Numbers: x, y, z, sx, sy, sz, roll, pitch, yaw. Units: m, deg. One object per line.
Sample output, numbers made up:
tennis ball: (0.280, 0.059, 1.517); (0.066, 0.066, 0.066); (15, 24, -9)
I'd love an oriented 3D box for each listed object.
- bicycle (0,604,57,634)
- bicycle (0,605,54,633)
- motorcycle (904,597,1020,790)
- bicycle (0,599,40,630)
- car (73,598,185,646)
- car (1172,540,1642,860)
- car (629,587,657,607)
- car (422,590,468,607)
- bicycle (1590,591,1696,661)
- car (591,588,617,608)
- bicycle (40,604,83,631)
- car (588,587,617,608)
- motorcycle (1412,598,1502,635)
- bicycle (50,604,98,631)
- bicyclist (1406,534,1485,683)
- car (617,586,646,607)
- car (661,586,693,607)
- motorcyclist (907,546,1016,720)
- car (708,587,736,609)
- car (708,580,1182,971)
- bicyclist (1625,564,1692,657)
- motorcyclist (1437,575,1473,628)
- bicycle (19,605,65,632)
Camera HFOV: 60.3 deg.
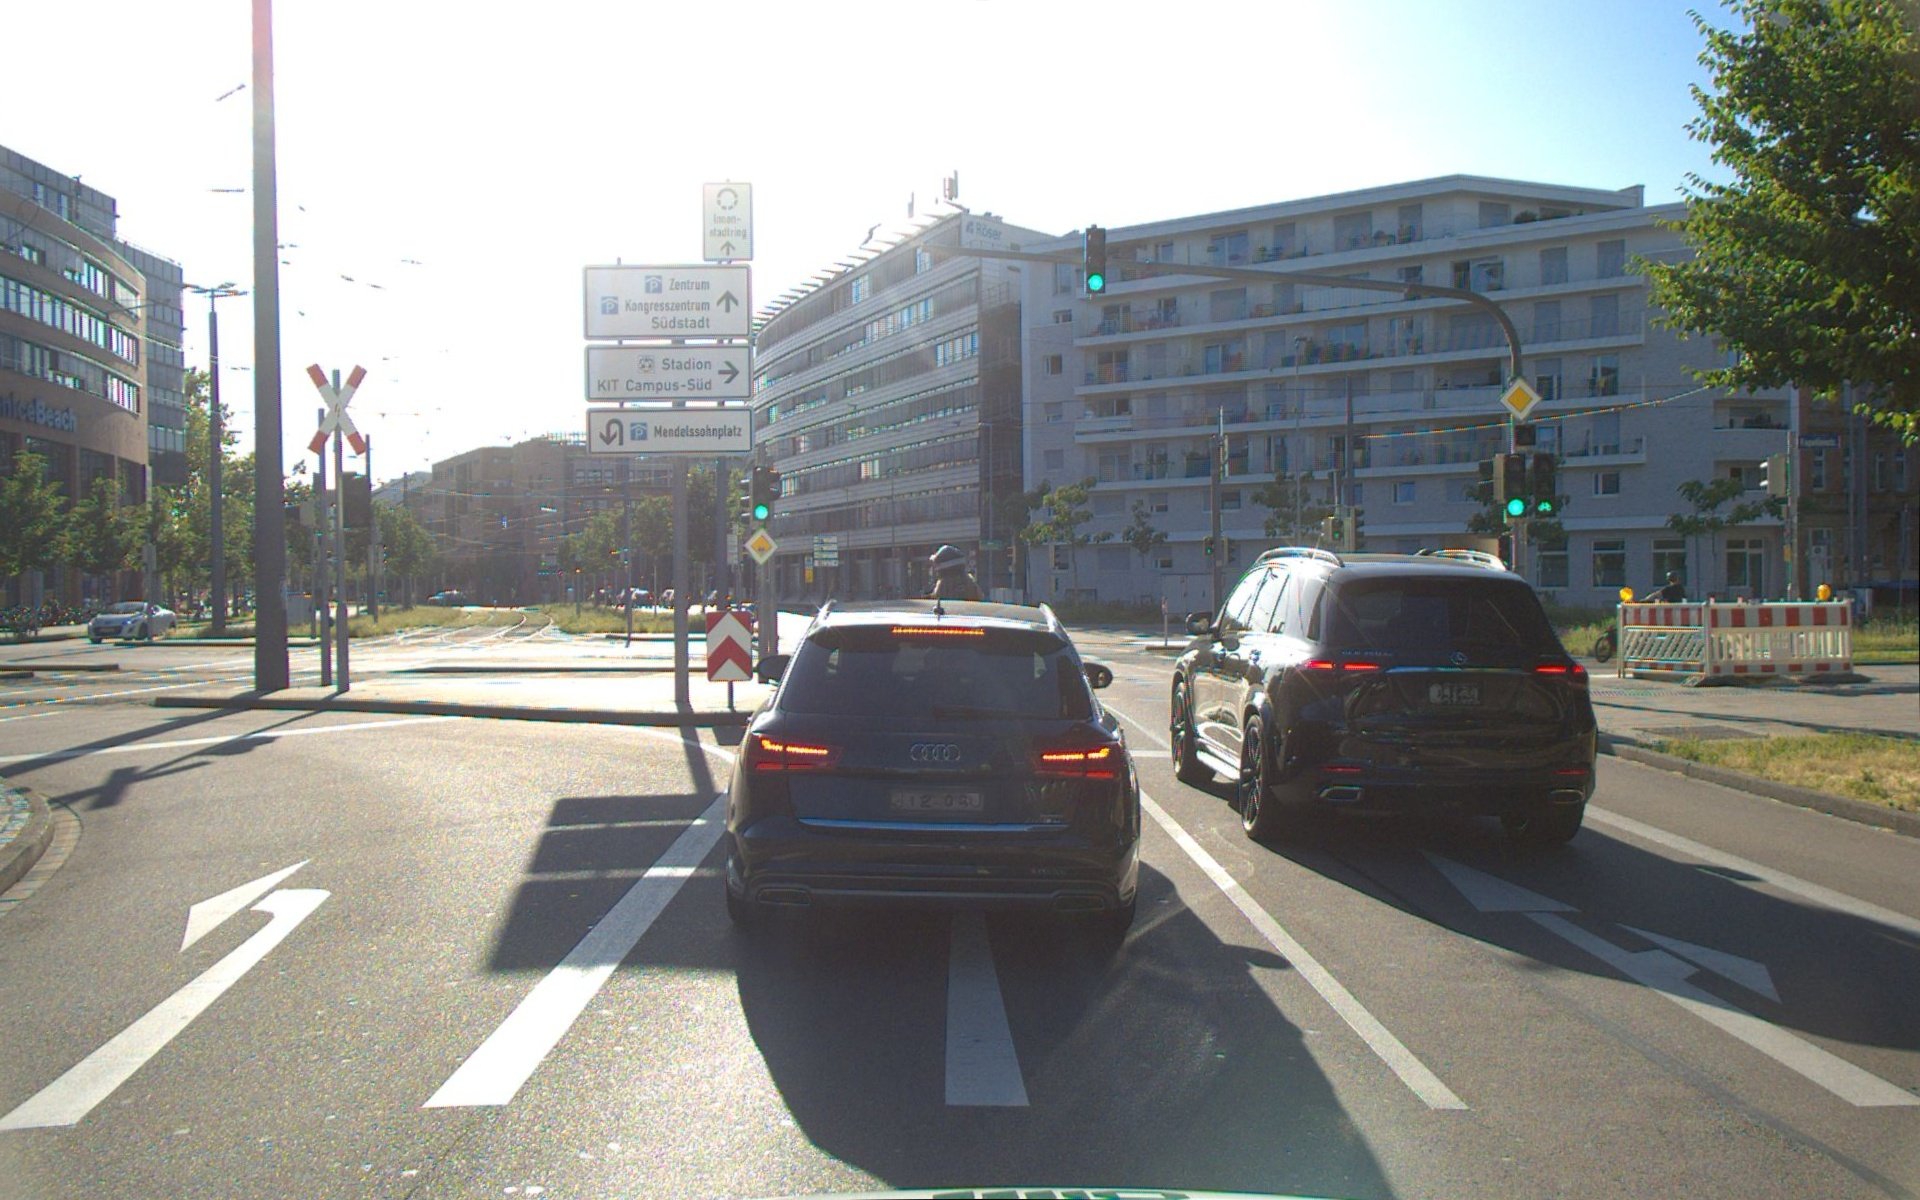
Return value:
bicycle: (-46.793, 0.960, 82.968); (2.507, 1.458, 0.905); (-2, 0, 8)
bicycle: (-50.400, 1.018, 89.342); (2.551, 1.458, 0.772); (-2, 0, 8)
motorcycle: (0.003, 0.694, 13.224); (0.845, 1.417, 1.893); (-1, 0, -1)
bicycle: (-46.361, 0.698, 80.727); (2.507, 1.458, 0.905); (-2, 0, 8)
car: (-30.037, 0.764, 59.934); (1.954, 1.572, 4.527); (-1, 1, -4)
car: (2.764, 0.530, 11.372); (1.962, 1.745, 4.371); (1, 1, -1)
car: (-26.768, -0.228, 139.411); (1.961, 1.624, 3.982); (-1, 0, -16)
car: (-53.998, -0.184, 173.435); (4.352, 1.668, 1.979); (-1, 0, -31)
bicycle: (13.183, 0.482, 32.012); (0.754, 1.284, 2.072); (-1, 0, -17)
car: (-33.779, -0.174, 156.838); (1.963, 1.736, 3.978); (-1, 0, -19)
bicycle: (-50.885, 1.010, 93.651); (2.092, 1.458, 0.759); (-2, 0, 8)
car: (-31.290, -0.195, 144.743); (1.963, 1.736, 3.978); (-1, 0, -19)
motorcycle: (14.326, 0.482, 47.747); (2.400, 1.018, 1.173); (-1, 0, 13)
bicycle: (-50.779, 0.984, 94.828); (2.369, 1.458, 0.789); (-2, 0, 8)
bicyclist: (5.585, 0.091, 19.067); (0.640, 1.671, 0.972); (-1, 1, 2)
car: (-28.974, -0.306, 145.950); (1.963, 1.736, 3.978); (-1, 0, -19)
car: (-23.475, -0.265, 136.992); (1.964, 1.624, 3.977); (-1, 0, -20)
motorcyclist: (0.008, 0.255, 13.280); (0.845, 1.349, 0.681); (-1, 0, -1)
car: (-21.480, -0.200, 149.324); (1.961, 1.870, 3.982); (-1, 0, -16)
car: (-0.098, 0.659, 8.381); (1.805, 1.479, 3.999); (1, 1, -1)
bicyclist: (13.310, 0.189, 31.538); (0.754, 1.736, 0.926); (-1, 0, -17)
motorcyclist: (14.274, 0.032, 47.742); (0.905, 1.507, 1.173); (-1, 0, 13)
bicycle: (-50.763, 1.016, 91.456); (2.197, 1.458, 0.719); (-2, 0, 8)
